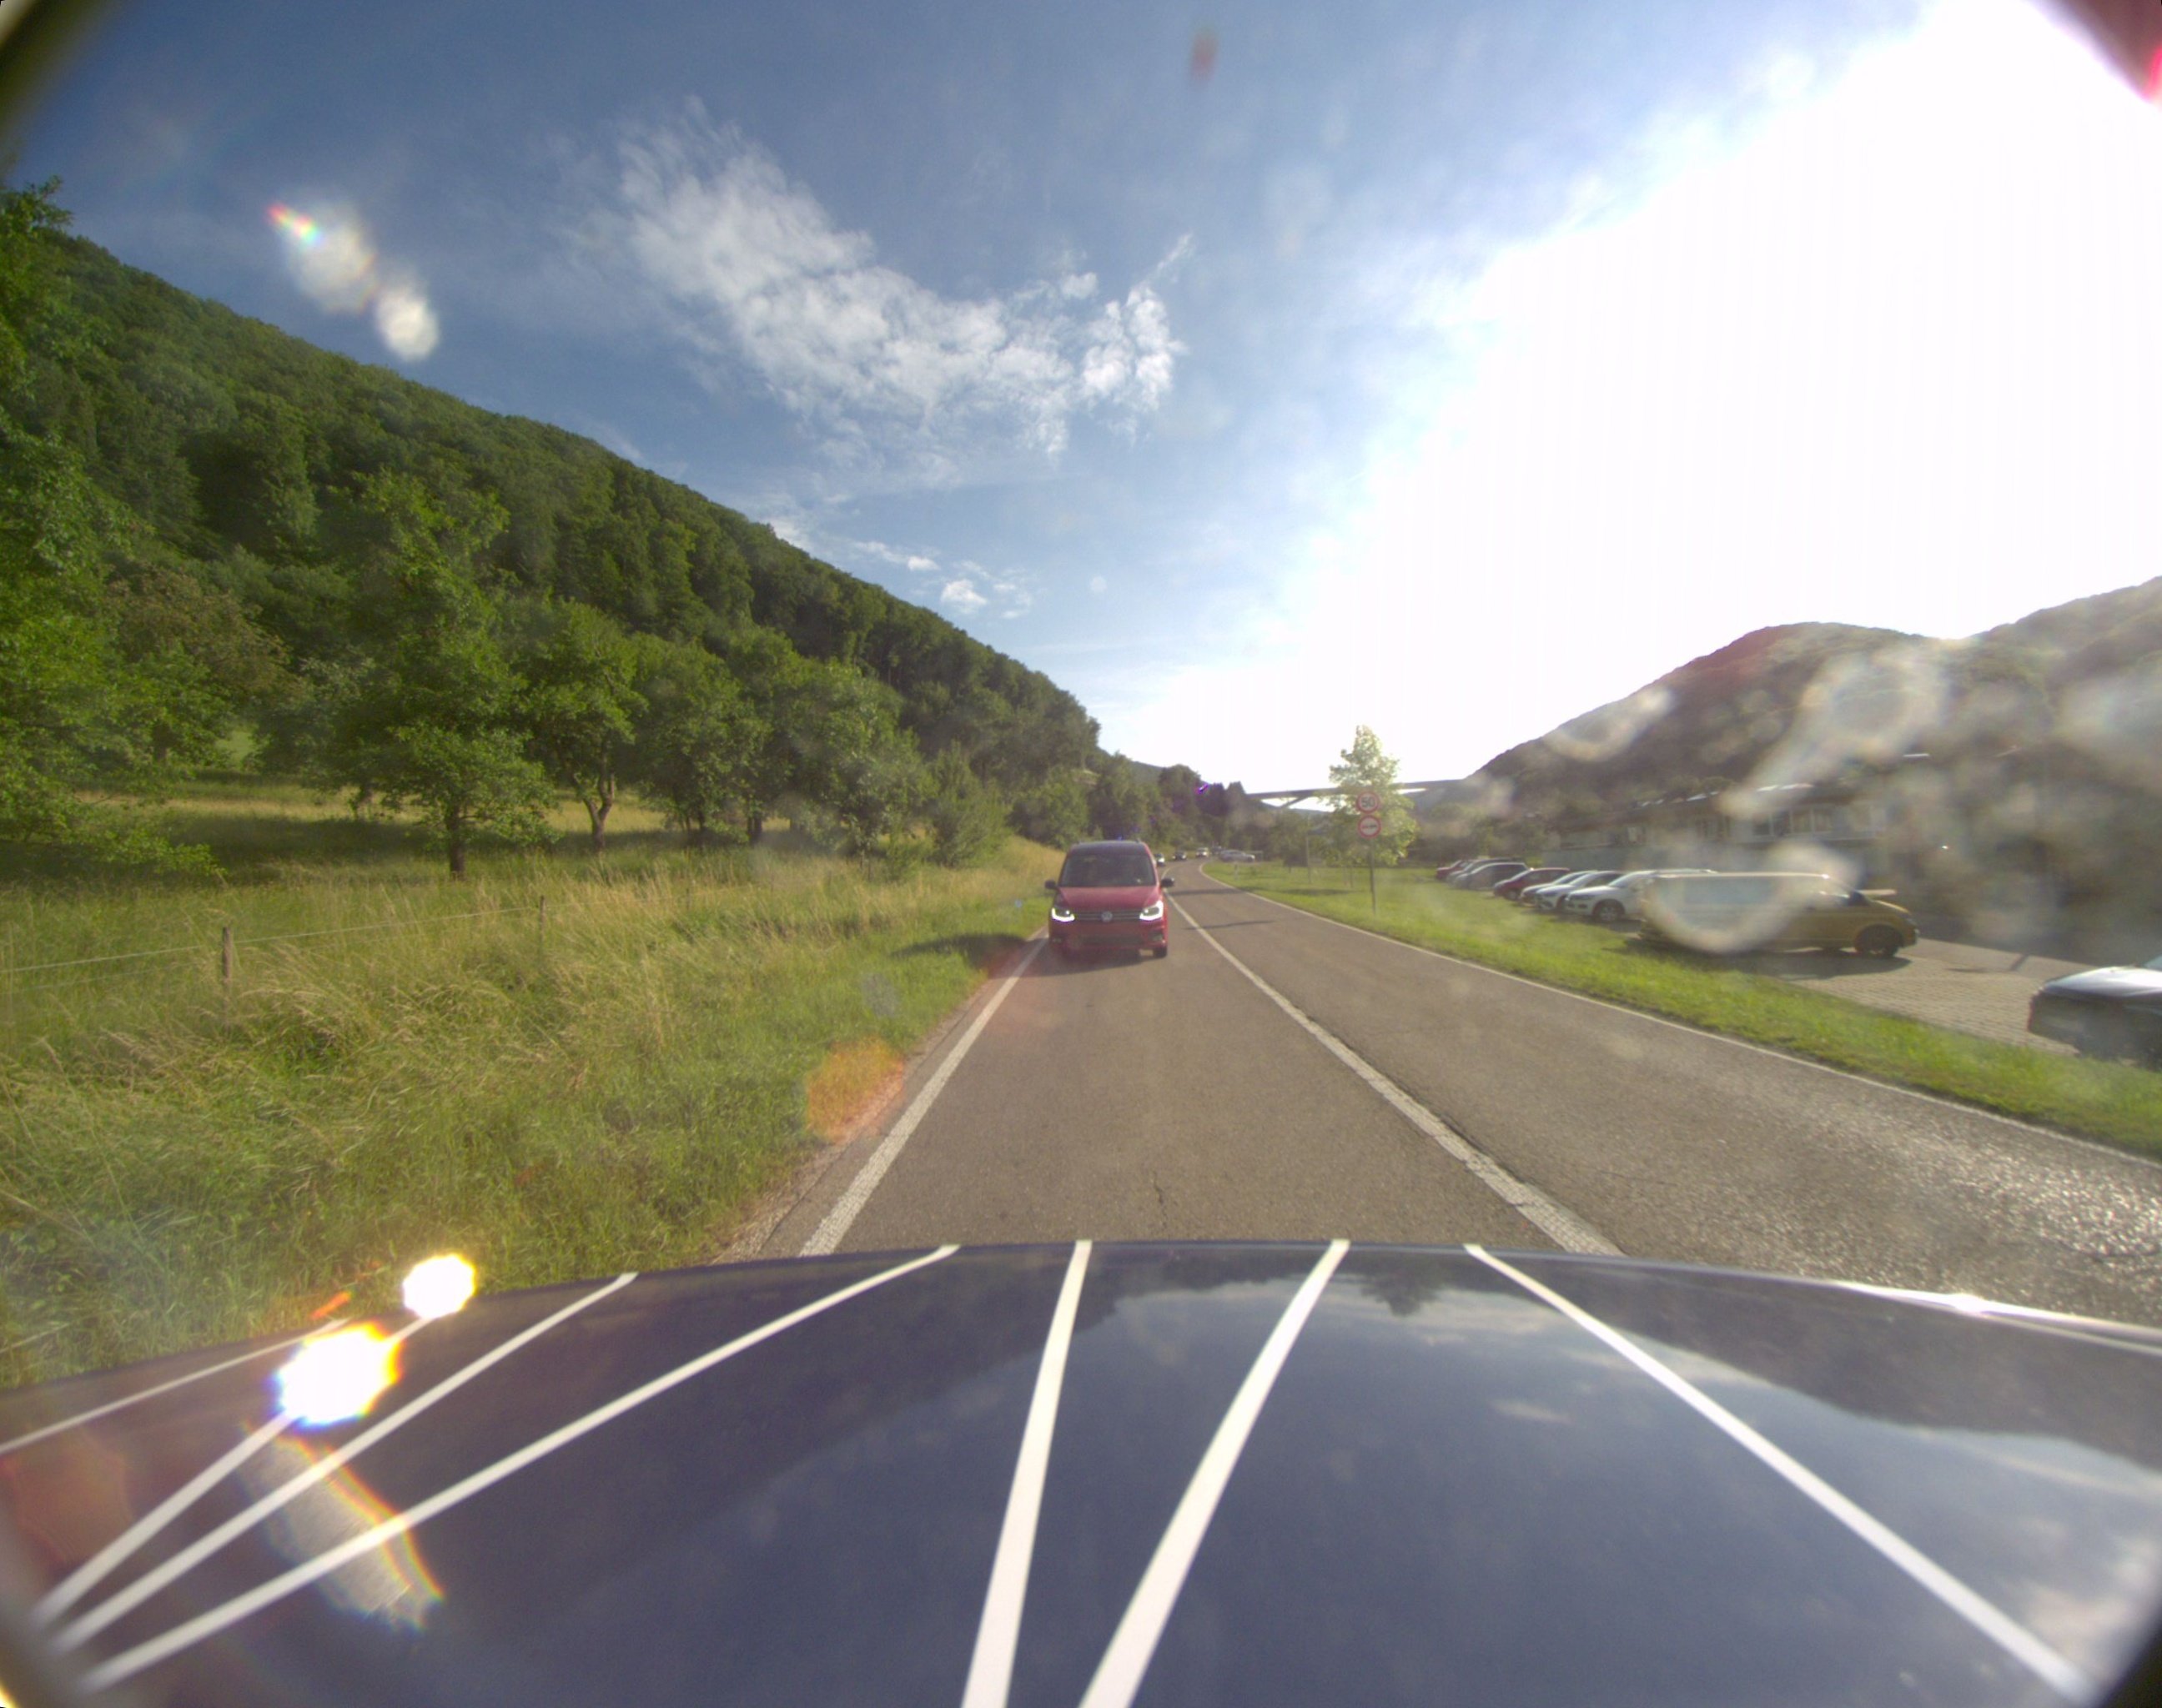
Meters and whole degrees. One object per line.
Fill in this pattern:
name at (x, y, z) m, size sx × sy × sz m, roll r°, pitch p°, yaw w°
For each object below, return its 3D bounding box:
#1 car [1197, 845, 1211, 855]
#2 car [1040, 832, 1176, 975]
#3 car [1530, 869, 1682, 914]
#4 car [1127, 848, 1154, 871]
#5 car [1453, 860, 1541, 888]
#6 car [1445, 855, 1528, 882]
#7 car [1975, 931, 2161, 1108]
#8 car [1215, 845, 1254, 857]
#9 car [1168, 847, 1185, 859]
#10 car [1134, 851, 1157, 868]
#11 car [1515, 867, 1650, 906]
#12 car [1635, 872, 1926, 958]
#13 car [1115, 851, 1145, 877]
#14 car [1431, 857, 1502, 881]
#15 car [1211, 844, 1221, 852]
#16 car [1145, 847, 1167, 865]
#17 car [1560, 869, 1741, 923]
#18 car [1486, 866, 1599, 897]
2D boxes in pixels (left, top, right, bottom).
car at (22.190, -0.722, 136.755) m, size 1.796 × 1.725 × 4.289 m, roll -2°, pitch 0°, yaw 17°
car at (0.380, 0.677, 12.272) m, size 1.747 × 1.849 × 4.348 m, roll -2°, pitch 0°, yaw 1°
car at (20.069, 1.407, 29.289) m, size 4.437 × 1.577 × 2.003 m, roll -1°, pitch 0°, yaw 20°
car at (4.674, 0.411, 59.381) m, size 1.900 × 1.717 × 4.002 m, roll -2°, pitch 0°, yaw 7°
car at (25.616, 1.242, 46.985) m, size 4.437 × 1.573 × 2.003 m, roll -2°, pitch 0°, yaw 18°
car at (27.398, 0.987, 51.452) m, size 4.665 × 1.752 × 2.003 m, roll -1°, pitch 0°, yaw 18°
car at (13.402, 1.739, 8.341) m, size 4.289 × 1.628 × 1.915 m, roll -3°, pitch 0°, yaw 14°
car at (20.665, -0.357, 102.473) m, size 4.771 × 1.518 × 1.999 m, roll -1°, pitch 0°, yaw -4°
car at (14.183, -0.121, 112.438) m, size 1.910 × 1.675 × 4.005 m, roll -2°, pitch -1°, yaw 15°
car at (5.882, 0.468, 68.616) m, size 1.798 × 1.464 × 4.286 m, roll -2°, pitch 0°, yaw 8°
car at (21.268, 1.362, 32.447) m, size 4.437 × 1.573 × 2.003 m, roll -1°, pitch 0°, yaw 18°
car at (16.260, 1.374, 18.009) m, size 4.653 × 1.802 × 2.003 m, roll -1°, pitch 0°, yaw 20°
car at (3.097, 0.608, 47.484) m, size 1.692 × 1.539 × 4.002 m, roll -2°, pitch 0°, yaw 5°
car at (28.671, 1.089, 56.630) m, size 4.437 × 1.709 × 2.003 m, roll -1°, pitch 0°, yaw 18°
car at (27.197, -1.185, 153.015) m, size 1.676 × 1.637 × 3.350 m, roll -2°, pitch 0°, yaw 17°
car at (8.106, 0.243, 81.637) m, size 1.997 × 1.838 × 4.003 m, roll -1°, pitch 0°, yaw 11°
car at (19.205, 1.401, 25.888) m, size 4.545 × 1.691 × 2.003 m, roll -1°, pitch 0°, yaw 20°
car at (22.545, 1.352, 37.327) m, size 4.437 × 1.443 × 2.003 m, roll -1°, pitch 0°, yaw 20°
